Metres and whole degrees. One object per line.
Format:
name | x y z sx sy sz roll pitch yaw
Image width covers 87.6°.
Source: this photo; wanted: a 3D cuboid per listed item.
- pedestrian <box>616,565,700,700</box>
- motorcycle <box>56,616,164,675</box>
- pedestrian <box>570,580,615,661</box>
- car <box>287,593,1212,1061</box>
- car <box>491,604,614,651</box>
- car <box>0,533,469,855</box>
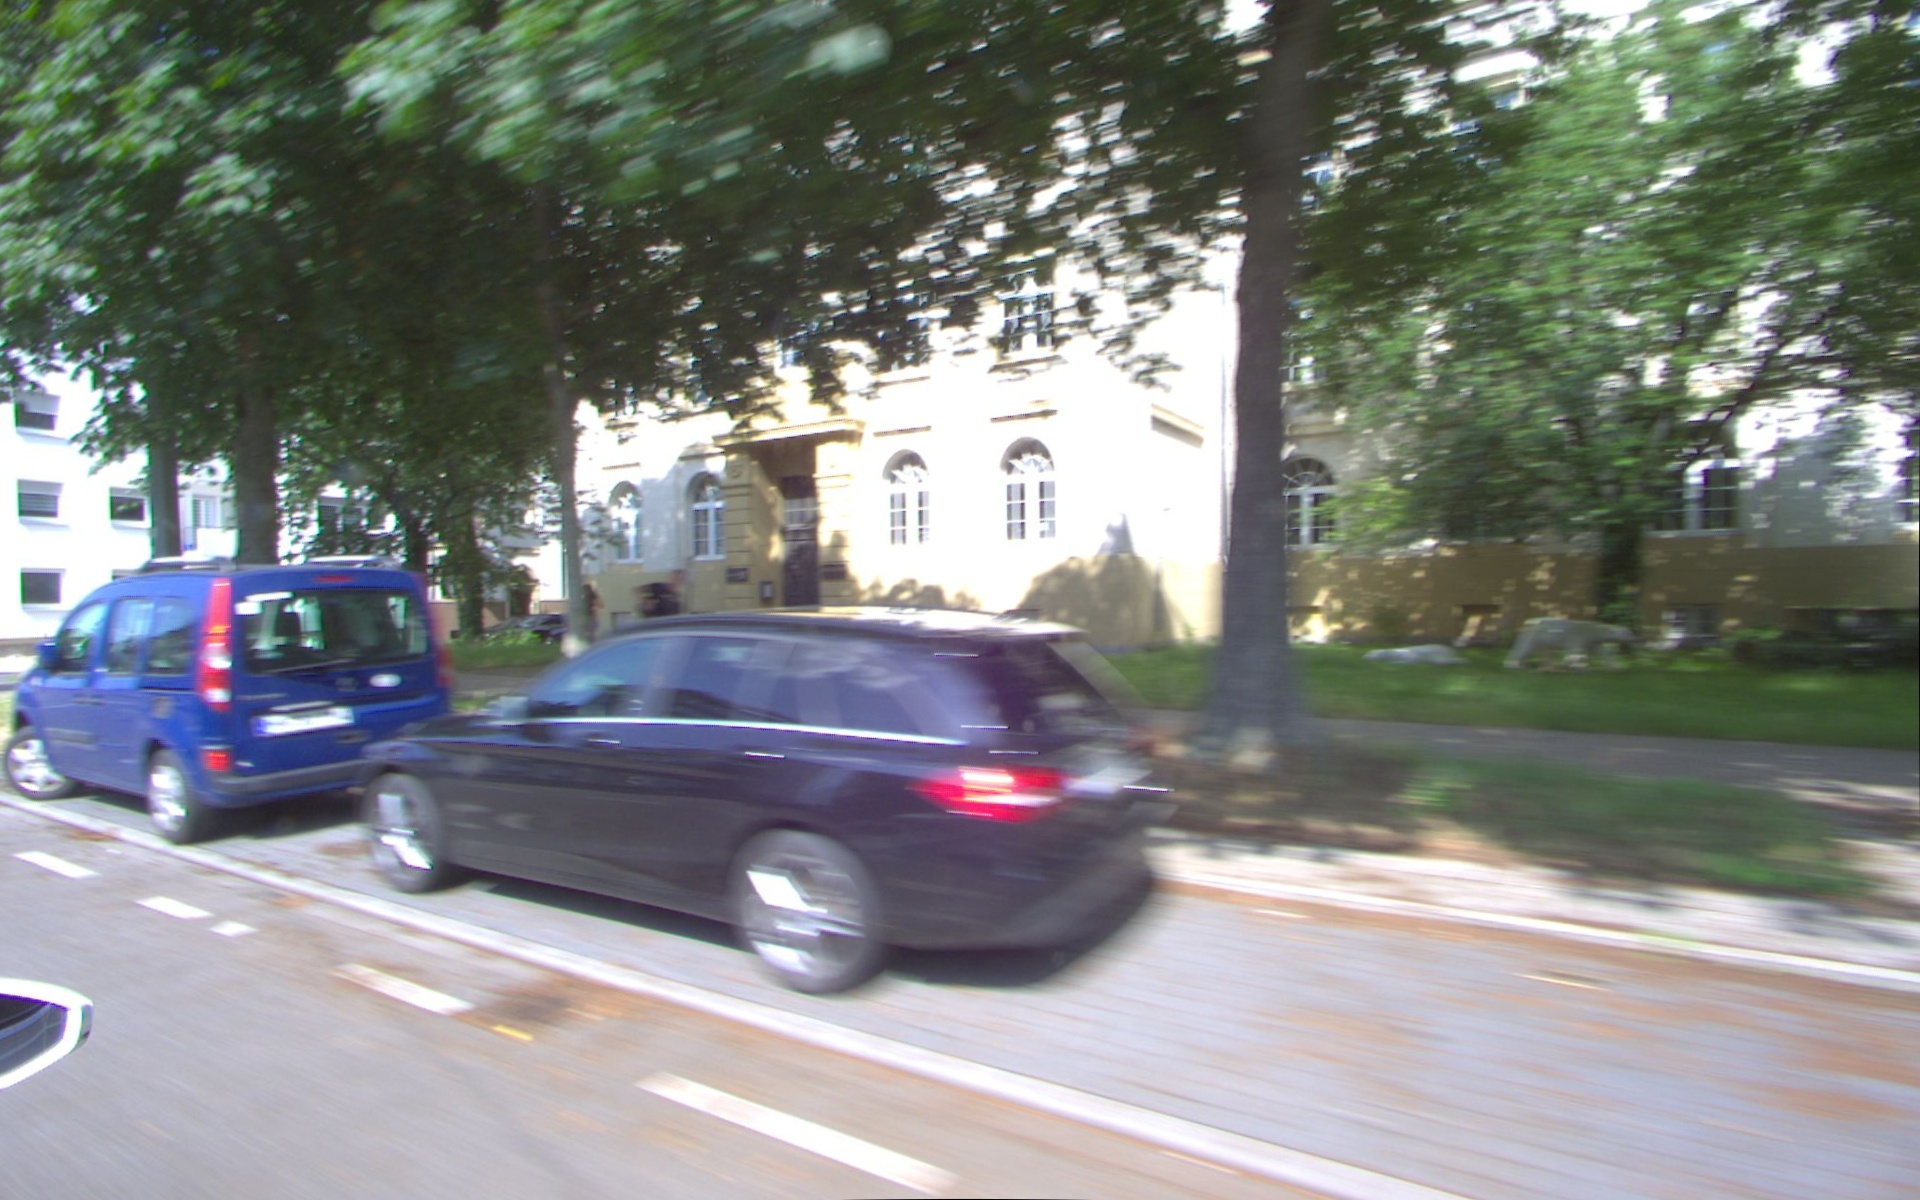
pedestrian | -3.992 0.406 13.250 0.757 1.719 0.741 0 2 36
motorcycle | -19.343 1.027 22.803 1.811 1.233 0.571 -2 5 -2
pedestrian | -7.521 0.418 20.500 0.532 1.617 0.630 -1 1 29
car | -1.275 0.742 5.296 4.725 1.462 1.913 0 3 31
car | -13.697 0.893 33.638 3.939 1.479 1.737 0 1 29
car | -5.899 0.536 7.853 4.125 1.922 1.817 0 2 34
